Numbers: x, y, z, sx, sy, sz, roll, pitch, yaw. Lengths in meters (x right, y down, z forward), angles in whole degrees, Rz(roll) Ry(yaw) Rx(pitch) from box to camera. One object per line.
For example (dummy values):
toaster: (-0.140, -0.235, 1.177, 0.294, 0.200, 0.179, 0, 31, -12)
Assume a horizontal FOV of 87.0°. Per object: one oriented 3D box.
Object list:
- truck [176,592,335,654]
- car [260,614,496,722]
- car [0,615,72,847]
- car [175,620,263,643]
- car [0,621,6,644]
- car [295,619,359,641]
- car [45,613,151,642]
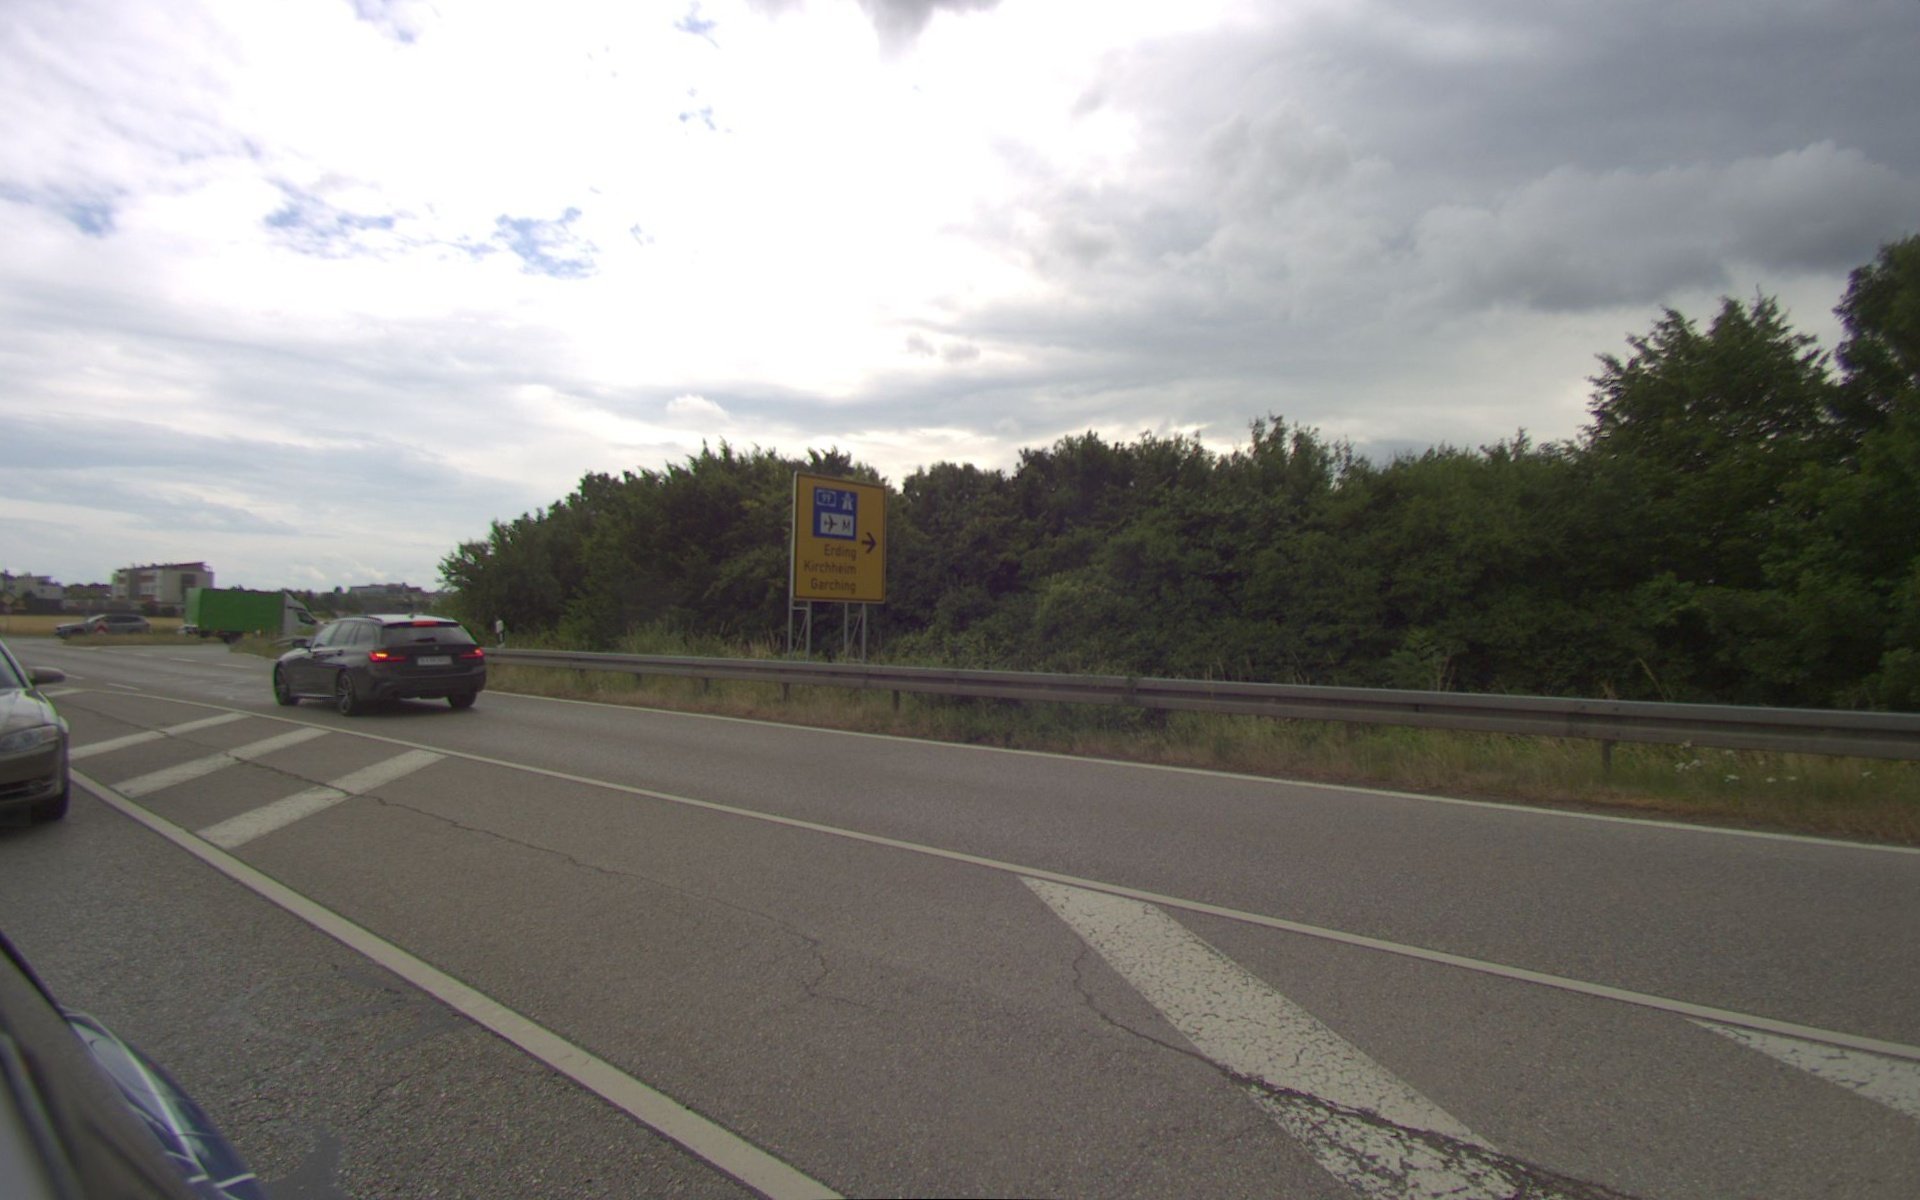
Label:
truck: (-43.209, 1.330, 62.301, 2.929, 3.589, 7.510, -1, 0, 37)
car: (-9.208, 0.965, 15.866, 4.442, 1.461, 1.781, -1, -2, 40)
car: (-7.961, 0.852, 7.353, 4.201, 1.455, 1.708, -1, -1, 41)
car: (-49.942, 2.082, 68.272, 4.607, 1.510, 2.002, 1, -2, -42)
car: (-65.682, 2.148, 67.526, 3.824, 1.501, 1.979, -1, -1, 31)
car: (-45.254, 2.114, 72.355, 3.662, 1.510, 1.732, 1, -2, -42)
car: (-54.163, 1.711, 63.644, 1.996, 1.702, 4.758, -1, -1, 37)
